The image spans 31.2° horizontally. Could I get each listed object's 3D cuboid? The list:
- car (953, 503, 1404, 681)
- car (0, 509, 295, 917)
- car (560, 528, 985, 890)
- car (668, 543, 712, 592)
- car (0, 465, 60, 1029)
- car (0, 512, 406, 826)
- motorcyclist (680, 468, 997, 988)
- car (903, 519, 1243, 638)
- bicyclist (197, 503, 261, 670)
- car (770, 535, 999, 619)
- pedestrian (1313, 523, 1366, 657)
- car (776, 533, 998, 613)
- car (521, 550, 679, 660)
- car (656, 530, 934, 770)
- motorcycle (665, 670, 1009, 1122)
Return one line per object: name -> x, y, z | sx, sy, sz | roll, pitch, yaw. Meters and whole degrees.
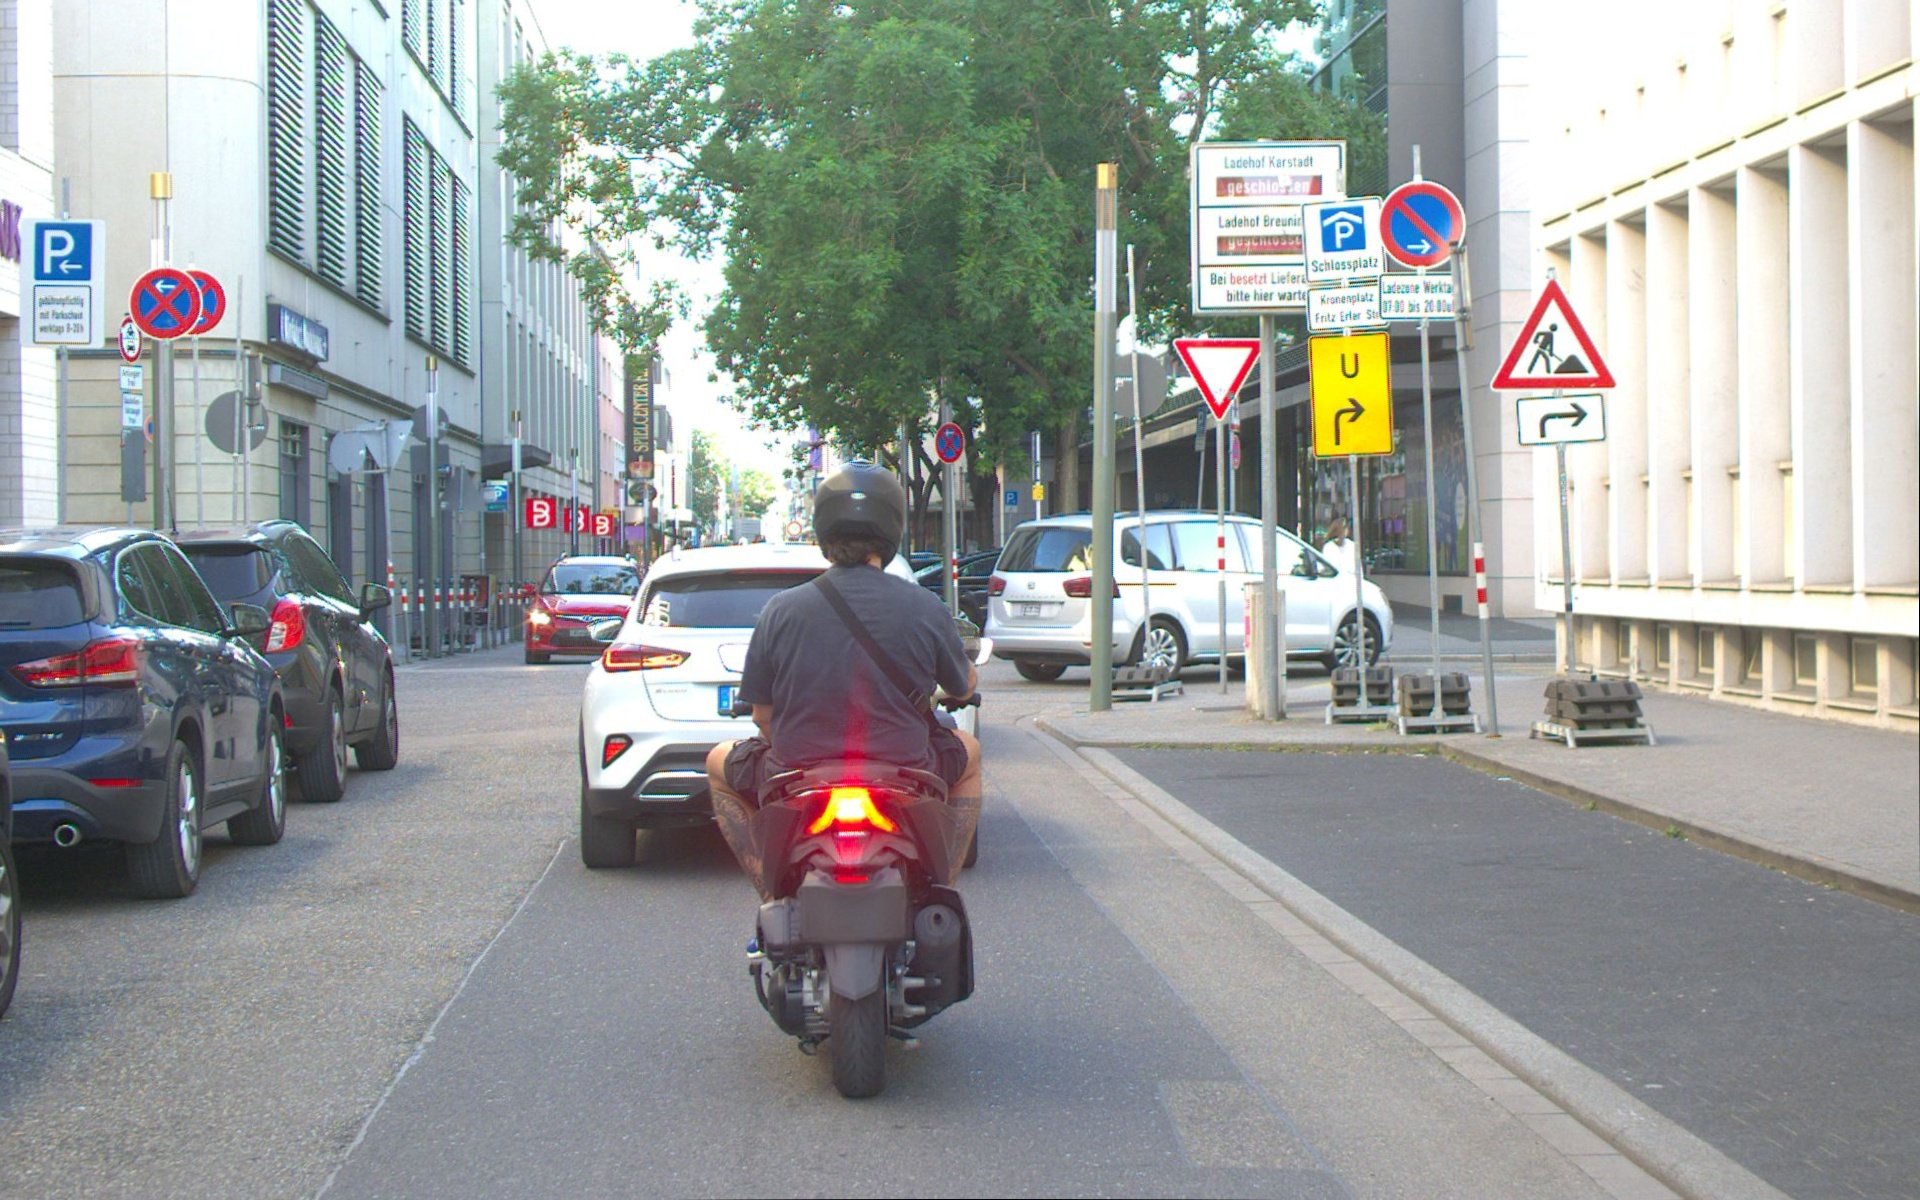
car -> 2.268, -0.107, 34.904 | 4.481, 1.639, 1.828 | 0, 3, -40
car -> -4.209, 0.427, 15.650 | 1.739, 1.589, 4.155 | -3, 1, -4
car -> -0.950, 0.426, 17.045 | 1.822, 1.536, 4.264 | -1, 1, -4
car -> -13.059, -1.585, 166.187 | 1.993, 2.321, 5.022 | 1, 1, -5
car -> -3.768, 0.508, 9.199 | 1.822, 1.708, 4.018 | -3, 1, -4
car -> -4.611, 0.337, 21.355 | 1.822, 1.672, 4.264 | -3, 1, -3
motorcyclist -> -0.339, 0.350, 9.636 | 0.867, 1.422, 0.455 | 0, 0, -2
car -> 1.726, -0.337, 53.731 | 5.003, 1.447, 2.000 | -4, 0, -5
bicyclist -> -7.615, -0.141, 35.808 | 0.550, 1.726, 0.501 | 0, 0, -24
car -> -1.756, -0.523, 78.424 | 5.003, 1.494, 2.000 | -4, 0, -5
pedestrian -> 4.510, -0.118, 40.851 | 0.559, 1.578, 0.598 | 0, 0, -1
car -> -1.751, -0.634, 80.896 | 5.003, 1.494, 2.000 | -4, 0, -5
car -> -5.038, 0.106, 48.535 | 1.822, 1.460, 4.263 | -1, -1, -1
car -> -1.262, 0.295, 25.559 | 1.822, 1.536, 4.365 | -3, 1, -4
motorcycle -> -0.342, 0.770, 9.659 | 0.872, 1.105, 1.840 | 0, 0, -2
